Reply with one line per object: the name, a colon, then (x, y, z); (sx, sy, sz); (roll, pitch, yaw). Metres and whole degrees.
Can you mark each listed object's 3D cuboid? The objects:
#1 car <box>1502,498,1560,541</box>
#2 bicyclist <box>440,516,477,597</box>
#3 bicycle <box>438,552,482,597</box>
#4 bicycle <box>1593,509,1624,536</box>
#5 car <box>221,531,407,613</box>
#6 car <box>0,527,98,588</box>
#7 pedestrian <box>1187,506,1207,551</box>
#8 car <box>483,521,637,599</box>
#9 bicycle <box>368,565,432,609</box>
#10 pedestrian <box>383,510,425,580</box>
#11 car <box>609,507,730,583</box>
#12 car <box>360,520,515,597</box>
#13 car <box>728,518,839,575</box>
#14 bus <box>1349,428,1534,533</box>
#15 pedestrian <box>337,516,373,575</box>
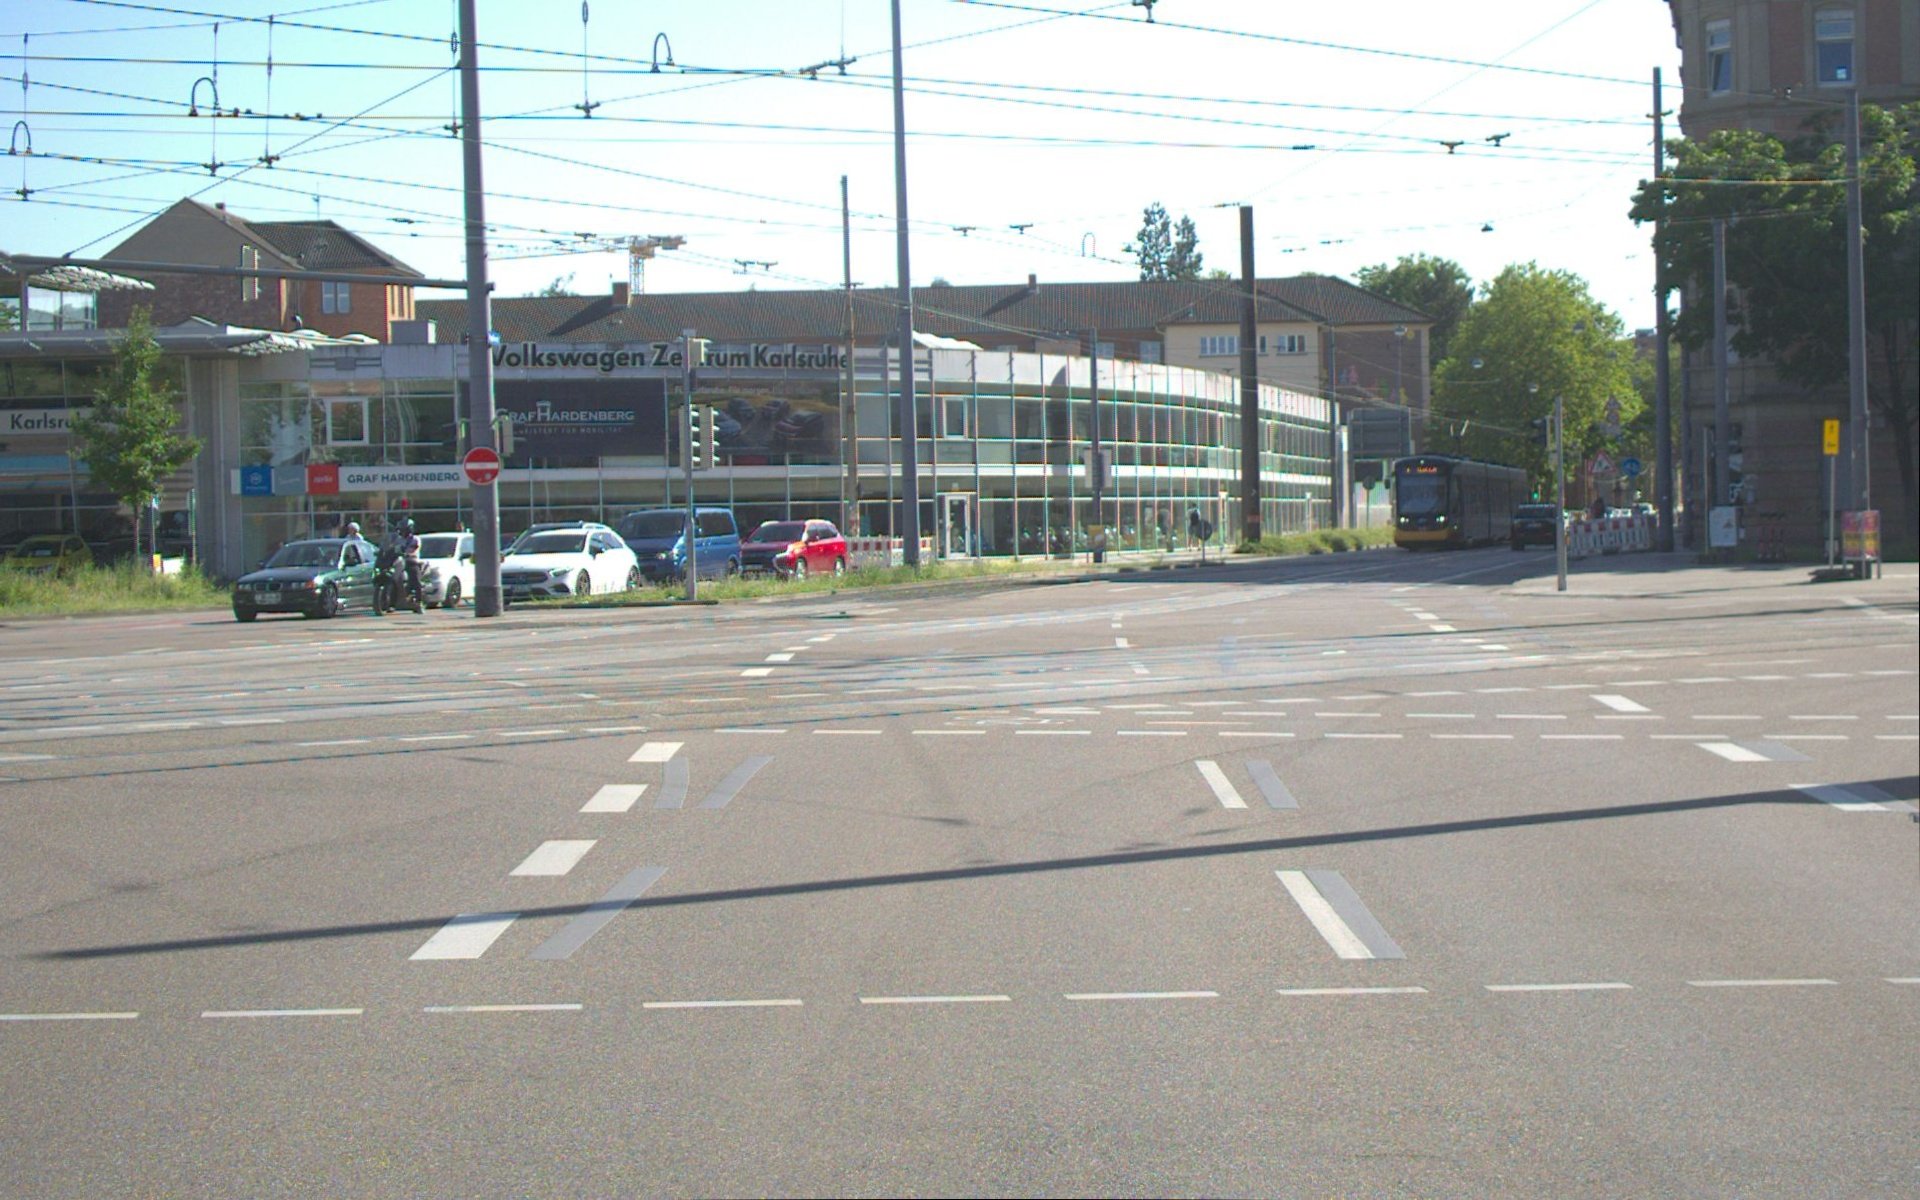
car: (21.001, -2.966, 126.281); (1.700, 1.497, 4.262); (-1, 1, 14)
bicyclist: (-10.708, -0.940, 73.400); (0.569, 1.708, 0.648); (-1, 1, 10)
bicycle: (-10.684, -0.550, 73.486); (0.468, 0.923, 1.474); (-1, 1, 10)
bicycle: (20.892, -2.500, 110.712); (0.743, 0.867, 1.929); (-1, 1, 17)
car: (-11.391, -0.520, 60.873); (1.705, 1.349, 3.698); (-1, 1, 17)
car: (-26.533, -1.245, 99.874); (1.966, 1.700, 4.084); (-1, 1, -1)
pedestrian: (8.994, -2.718, 130.420); (0.543, 1.683, 0.629); (-1, 1, 21)
car: (-7.523, -0.774, 64.943); (1.627, 1.377, 3.735); (-1, 1, 14)
bicycle: (-9.797, -0.235, 60.228); (0.423, 0.715, 1.633); (-1, 1, 17)
pedestrian: (-9.767, -0.969, 60.391); (0.423, 1.200, 0.749); (-1, 1, 17)
car: (-6.646, -1.280, 78.955); (1.627, 1.686, 3.683); (-1, 1, 14)
car: (-10.122, -0.819, 66.825); (1.627, 1.419, 3.683); (-1, 1, 14)
car: (-4.398, -1.351, 86.082); (1.627, 1.359, 3.683); (-1, 1, 16)
bus: (19.357, -4.557, 136.009); (3.839, 3.595, 24.848); (1, 1, 16)
pedestrian: (-12.376, -1.122, 70.308); (0.423, 1.200, 0.680); (-1, 1, 18)
